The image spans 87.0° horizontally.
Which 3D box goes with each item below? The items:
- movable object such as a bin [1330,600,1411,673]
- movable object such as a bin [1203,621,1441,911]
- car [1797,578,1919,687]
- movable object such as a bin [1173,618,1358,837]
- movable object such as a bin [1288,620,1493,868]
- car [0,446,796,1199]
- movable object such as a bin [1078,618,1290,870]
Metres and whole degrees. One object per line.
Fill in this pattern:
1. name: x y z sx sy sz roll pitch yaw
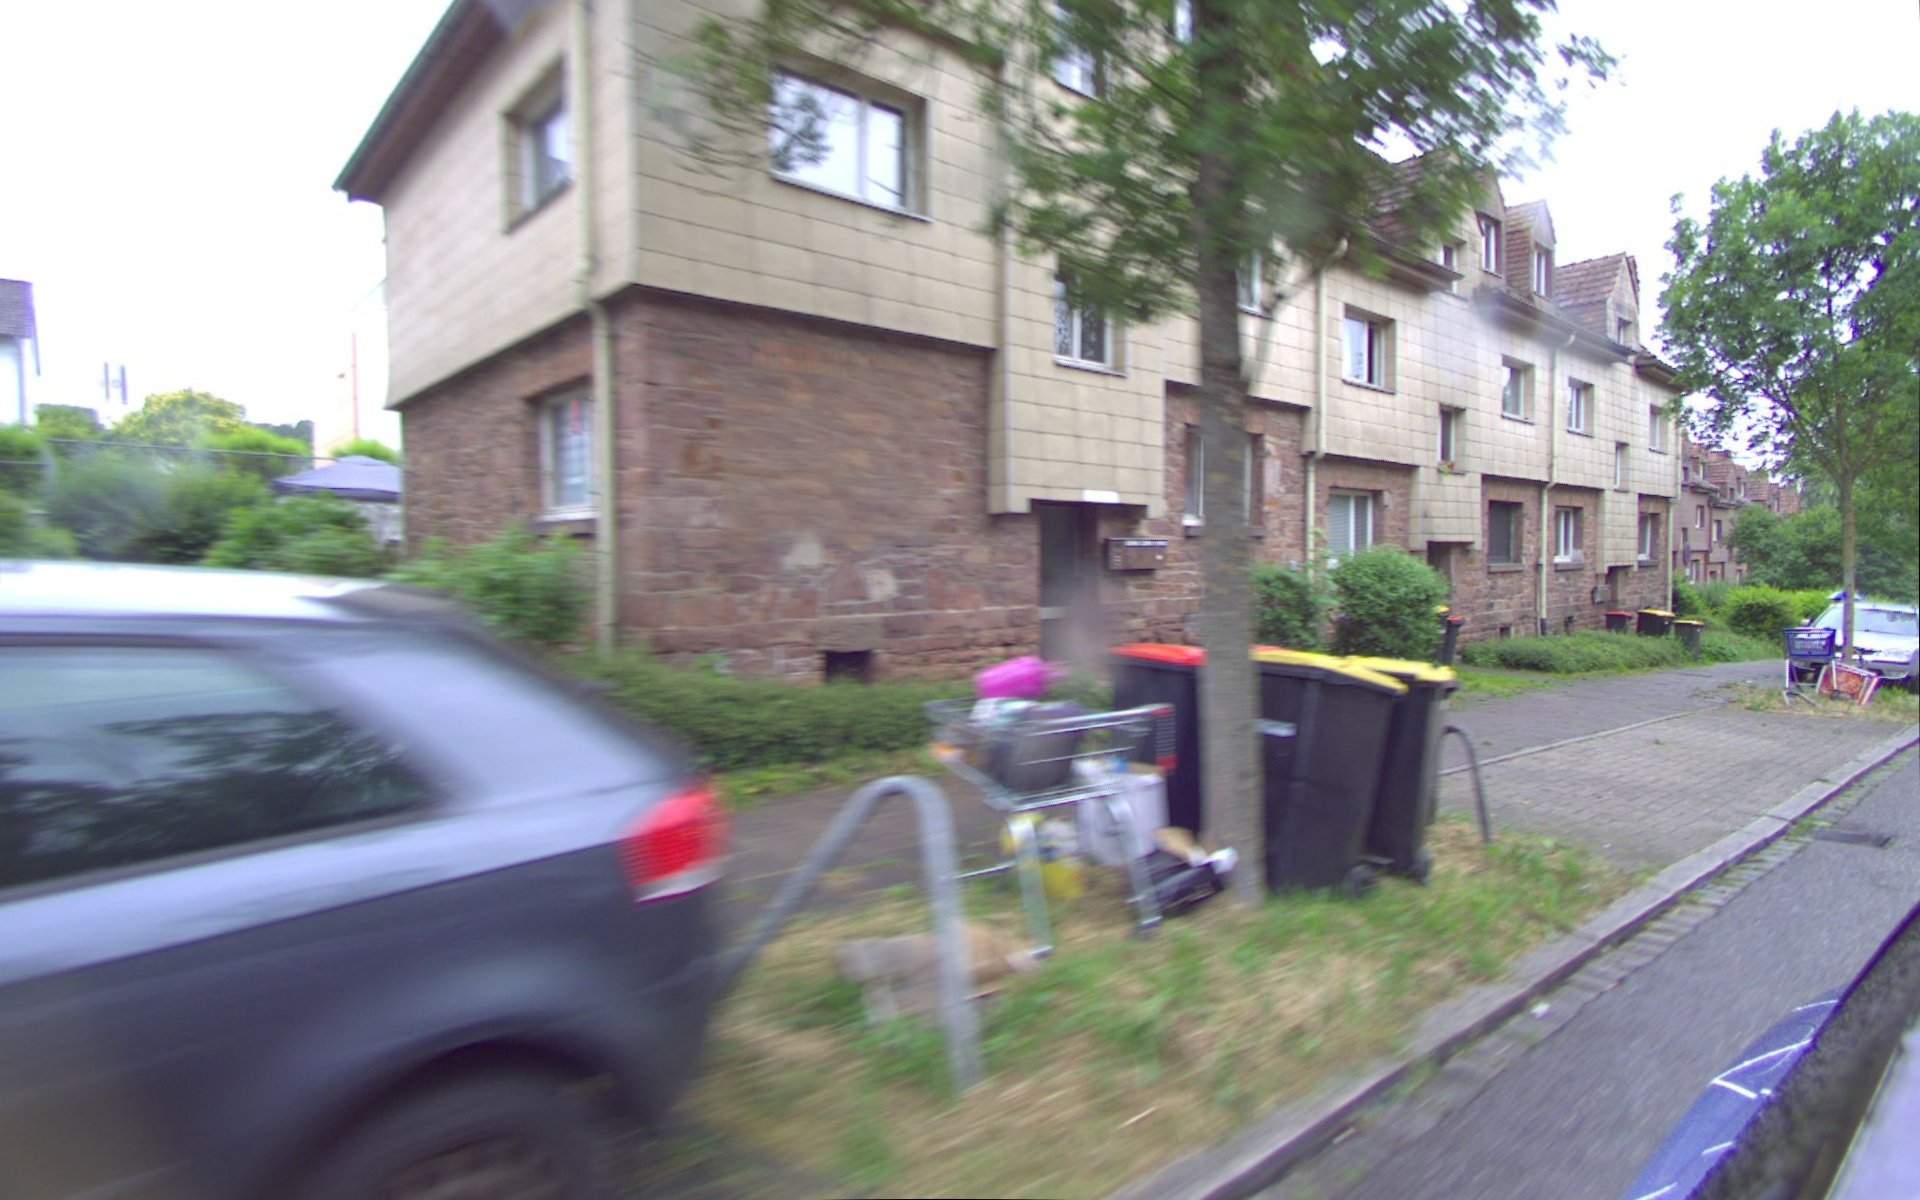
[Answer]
1. movable object such as a bin: 5.758 0.500 14.181 0.925 0.977 0.701 1 -1 -40
2. movable object such as a bin: 1.583 0.654 4.415 0.809 1.063 0.620 1 3 -43
3. car: 16.587 0.552 18.001 4.559 1.603 1.707 1 4 -40
4. movable object such as a bin: 1.713 0.659 5.666 0.809 1.063 0.620 1 3 -43
5. movable object such as a bin: 2.169 0.665 5.091 0.809 1.063 0.620 1 3 -43
6. car: -2.343 0.515 1.375 3.930 1.466 1.644 0 2 -42
7. movable object such as a bin: 1.105 0.648 4.980 0.809 1.063 0.620 1 3 -43
